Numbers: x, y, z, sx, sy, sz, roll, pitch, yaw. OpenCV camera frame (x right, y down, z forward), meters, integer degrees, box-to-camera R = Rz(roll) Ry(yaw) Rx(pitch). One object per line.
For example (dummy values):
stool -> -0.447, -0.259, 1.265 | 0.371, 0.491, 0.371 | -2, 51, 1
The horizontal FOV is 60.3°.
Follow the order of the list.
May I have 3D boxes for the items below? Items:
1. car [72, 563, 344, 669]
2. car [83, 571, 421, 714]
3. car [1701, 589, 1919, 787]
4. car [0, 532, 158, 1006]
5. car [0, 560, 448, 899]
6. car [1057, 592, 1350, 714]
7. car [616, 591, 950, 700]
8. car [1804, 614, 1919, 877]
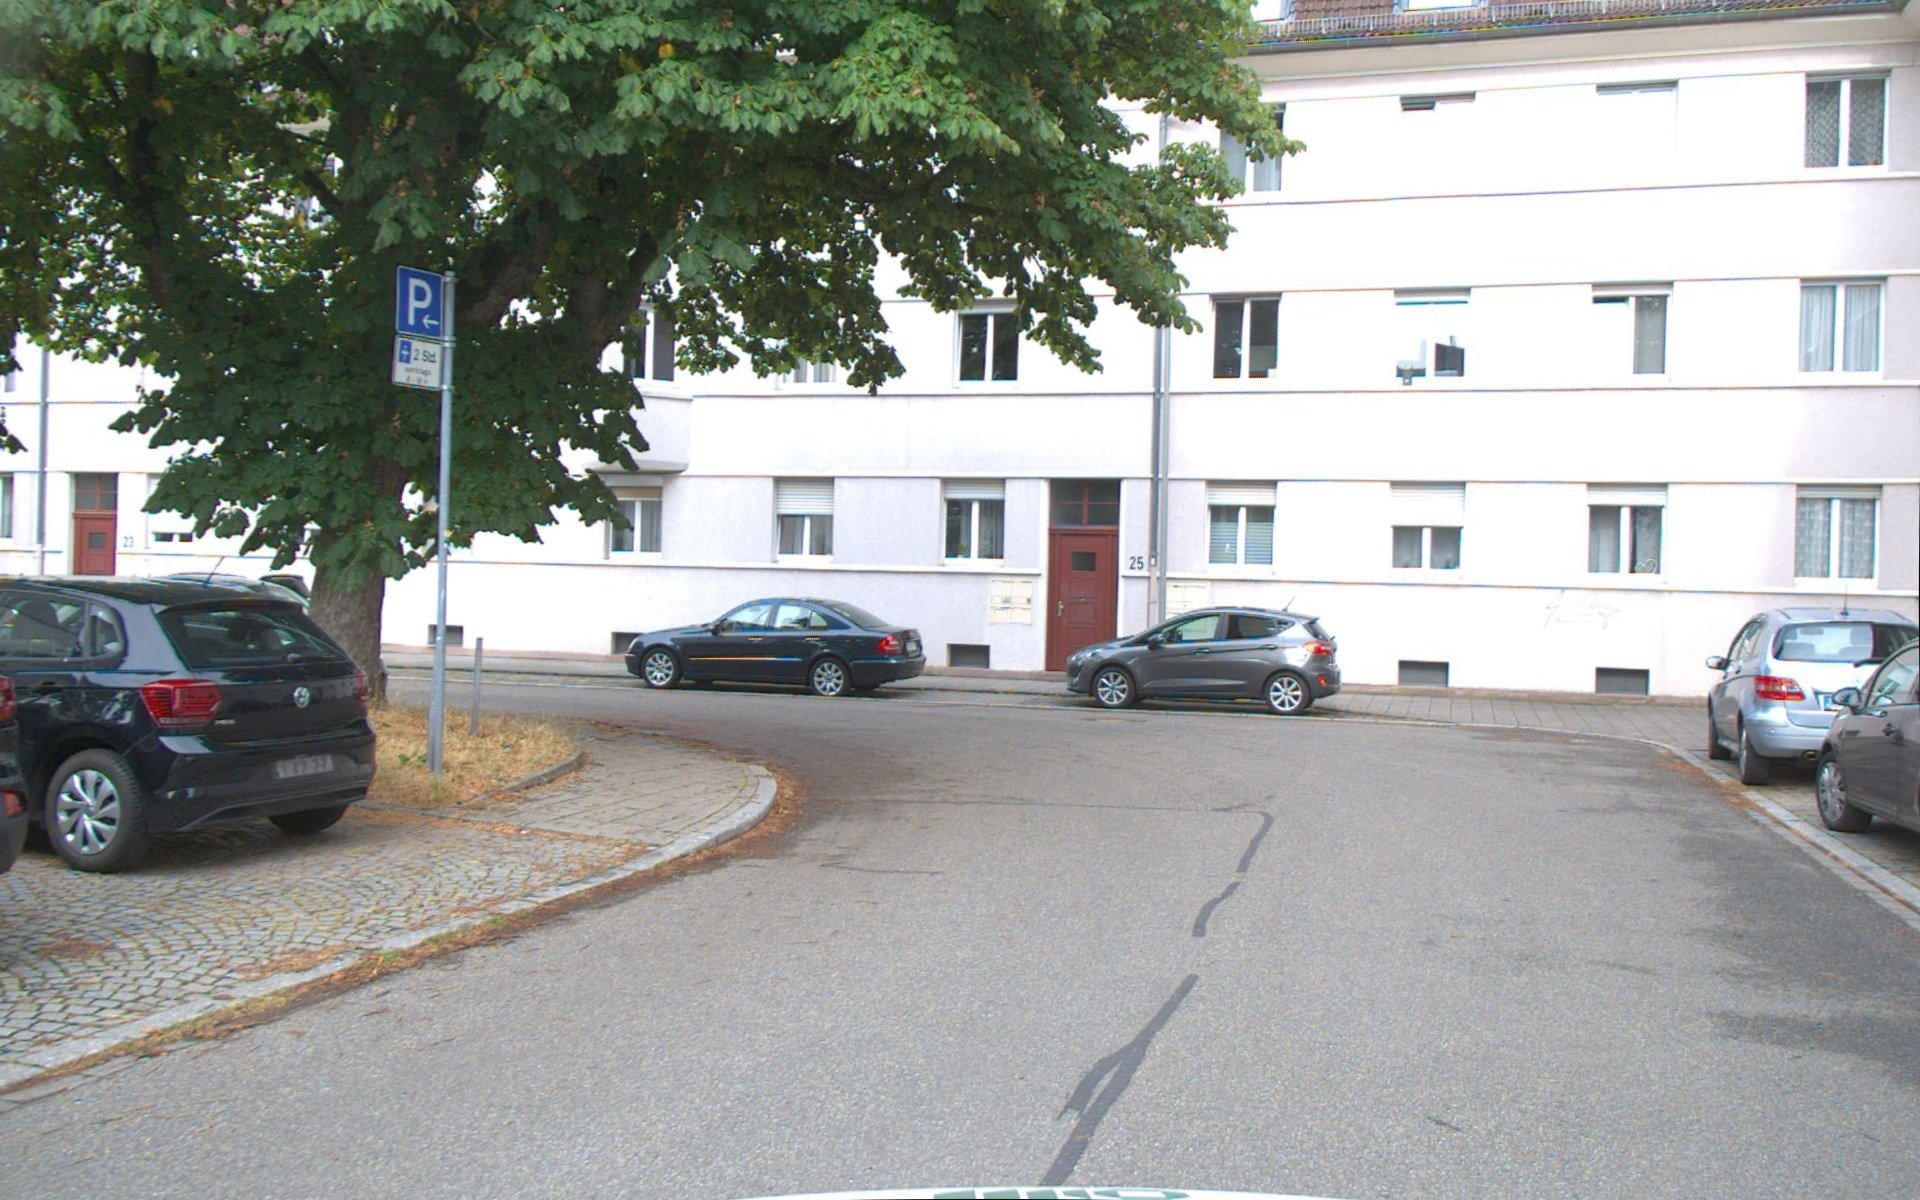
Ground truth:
car -> -13.366, 0.239, 29.462 | 4.184, 1.703, 1.850 | 2, 1, 15
car -> -8.366, 0.496, 19.580 | 3.505, 1.520, 1.529 | 1, -3, 20
car -> 8.433, 0.791, 16.265 | 1.720, 1.656, 4.201 | 1, -1, 19
car -> -5.440, 0.531, 6.438 | 3.972, 1.727, 1.917 | 3, 0, 21
car -> -5.075, 0.589, 9.425 | 3.750, 1.605, 1.831 | 1, 0, 19
car -> 3.553, 0.717, 23.961 | 3.980, 1.551, 1.764 | 2, 1, 16
car -> -2.736, 0.661, 25.722 | 4.829, 1.445, 1.752 | 2, 1, 16
car -> 6.796, 0.884, 10.666 | 1.720, 1.516, 3.939 | 1, -1, 17
